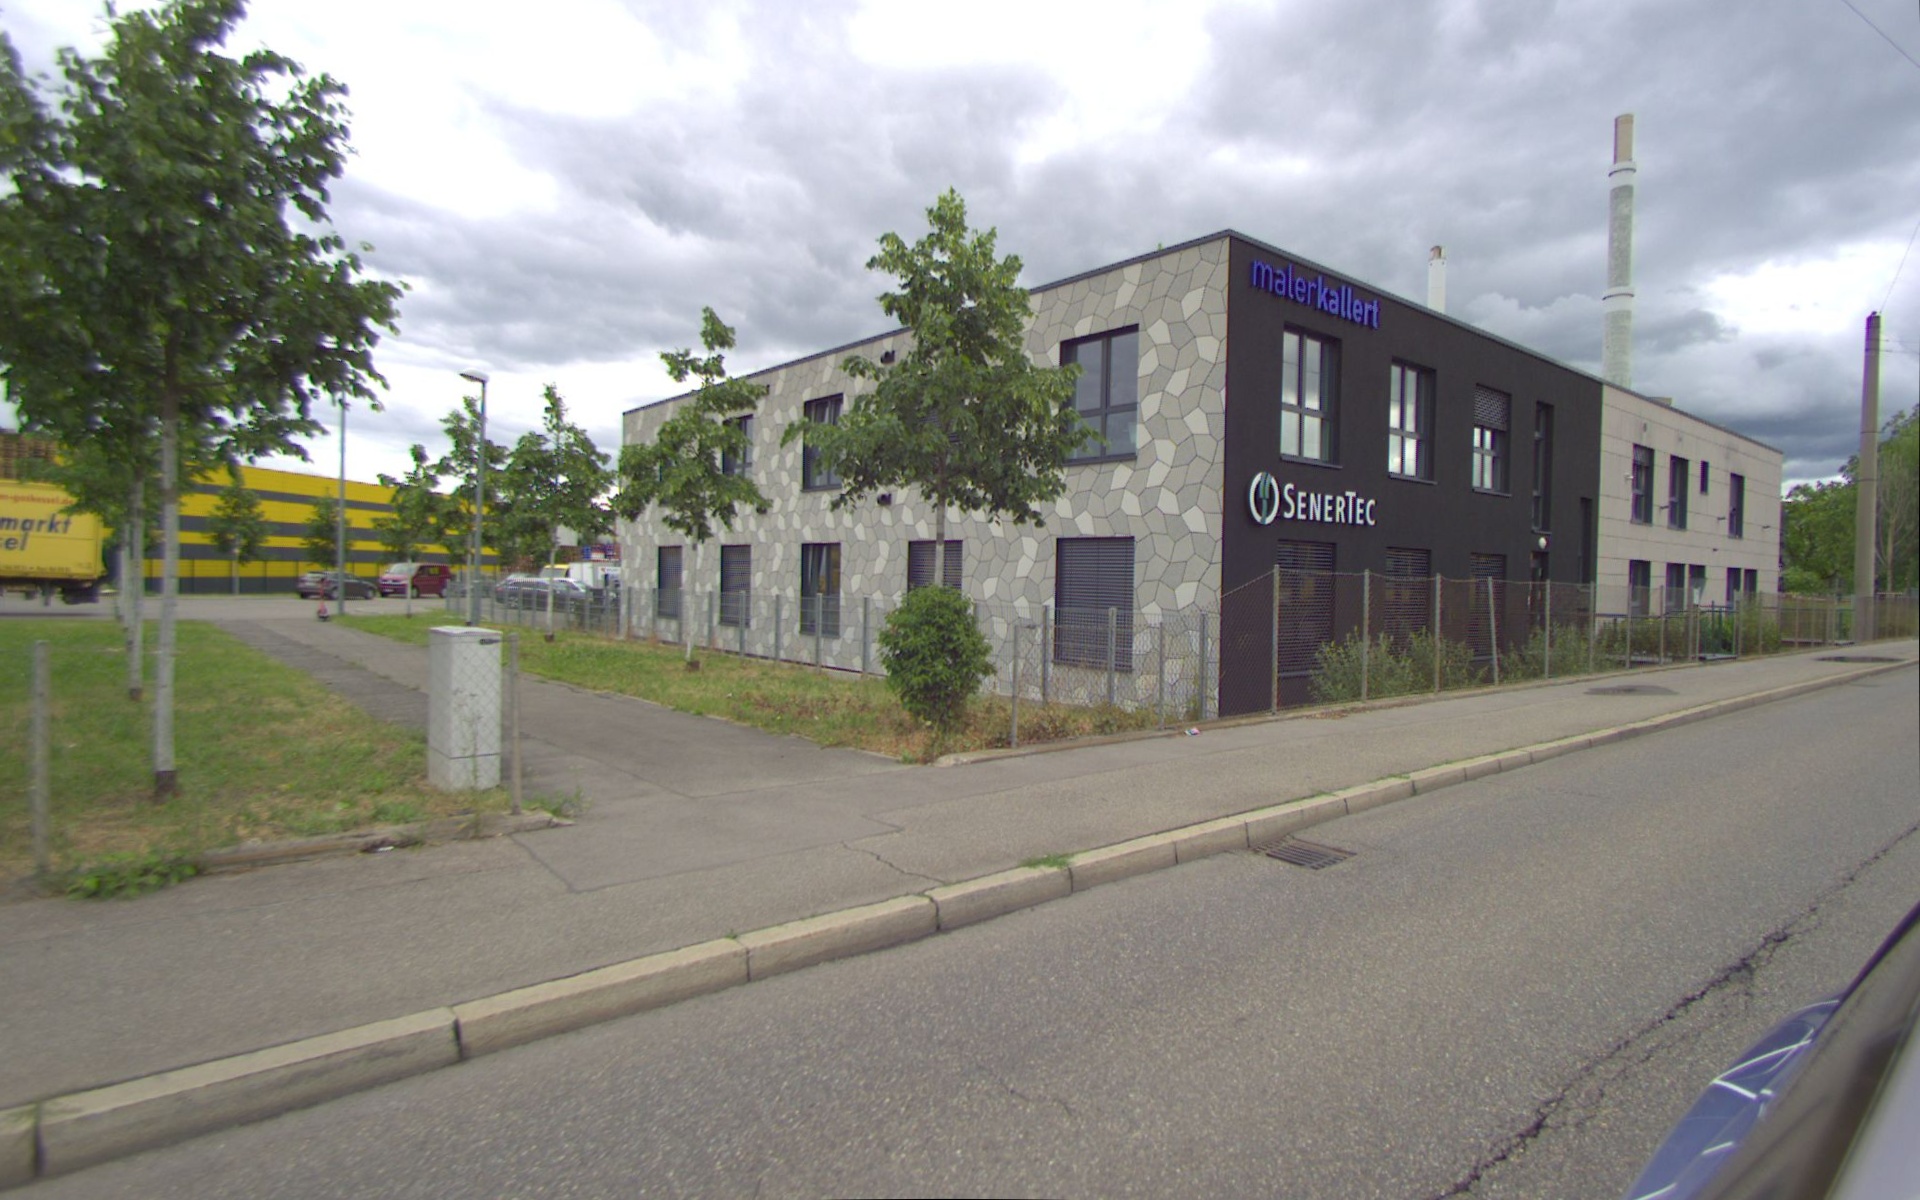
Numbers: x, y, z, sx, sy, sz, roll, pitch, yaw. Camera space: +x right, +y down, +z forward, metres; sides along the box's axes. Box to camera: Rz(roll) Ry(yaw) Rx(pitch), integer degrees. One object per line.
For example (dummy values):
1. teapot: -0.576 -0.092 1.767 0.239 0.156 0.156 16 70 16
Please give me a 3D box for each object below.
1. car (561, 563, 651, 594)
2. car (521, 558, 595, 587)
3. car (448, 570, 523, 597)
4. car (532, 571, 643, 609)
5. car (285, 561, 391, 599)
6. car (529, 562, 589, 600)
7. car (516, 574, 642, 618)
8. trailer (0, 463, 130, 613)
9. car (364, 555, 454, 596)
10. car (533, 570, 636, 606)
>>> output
1. car: -19.627 -1.176 56.171 4.293 1.604 2.001 1 1 0
2. car: -24.411 -1.655 61.635 1.971 1.605 4.356 -1 0 15
3. car: -29.676 -0.998 63.423 1.970 1.625 4.358 -1 0 13
4. car: -16.702 -0.464 45.519 4.293 1.604 2.001 1 1 0
5. car: -31.027 -0.971 50.643 1.971 1.713 4.356 3 1 15
6. car: -29.566 -1.432 74.758 1.970 2.724 4.359 1 2 14
7. car: -15.201 -0.179 40.558 4.293 1.604 2.001 1 1 0
8. trailer: -28.481 -1.775 27.878 8.544 4.123 2.945 1 1 -41
9. car: -30.802 -1.333 56.725 1.971 2.148 4.356 -1 0 15
10. car: -18.270 -0.607 49.381 4.293 1.604 2.001 1 1 0
